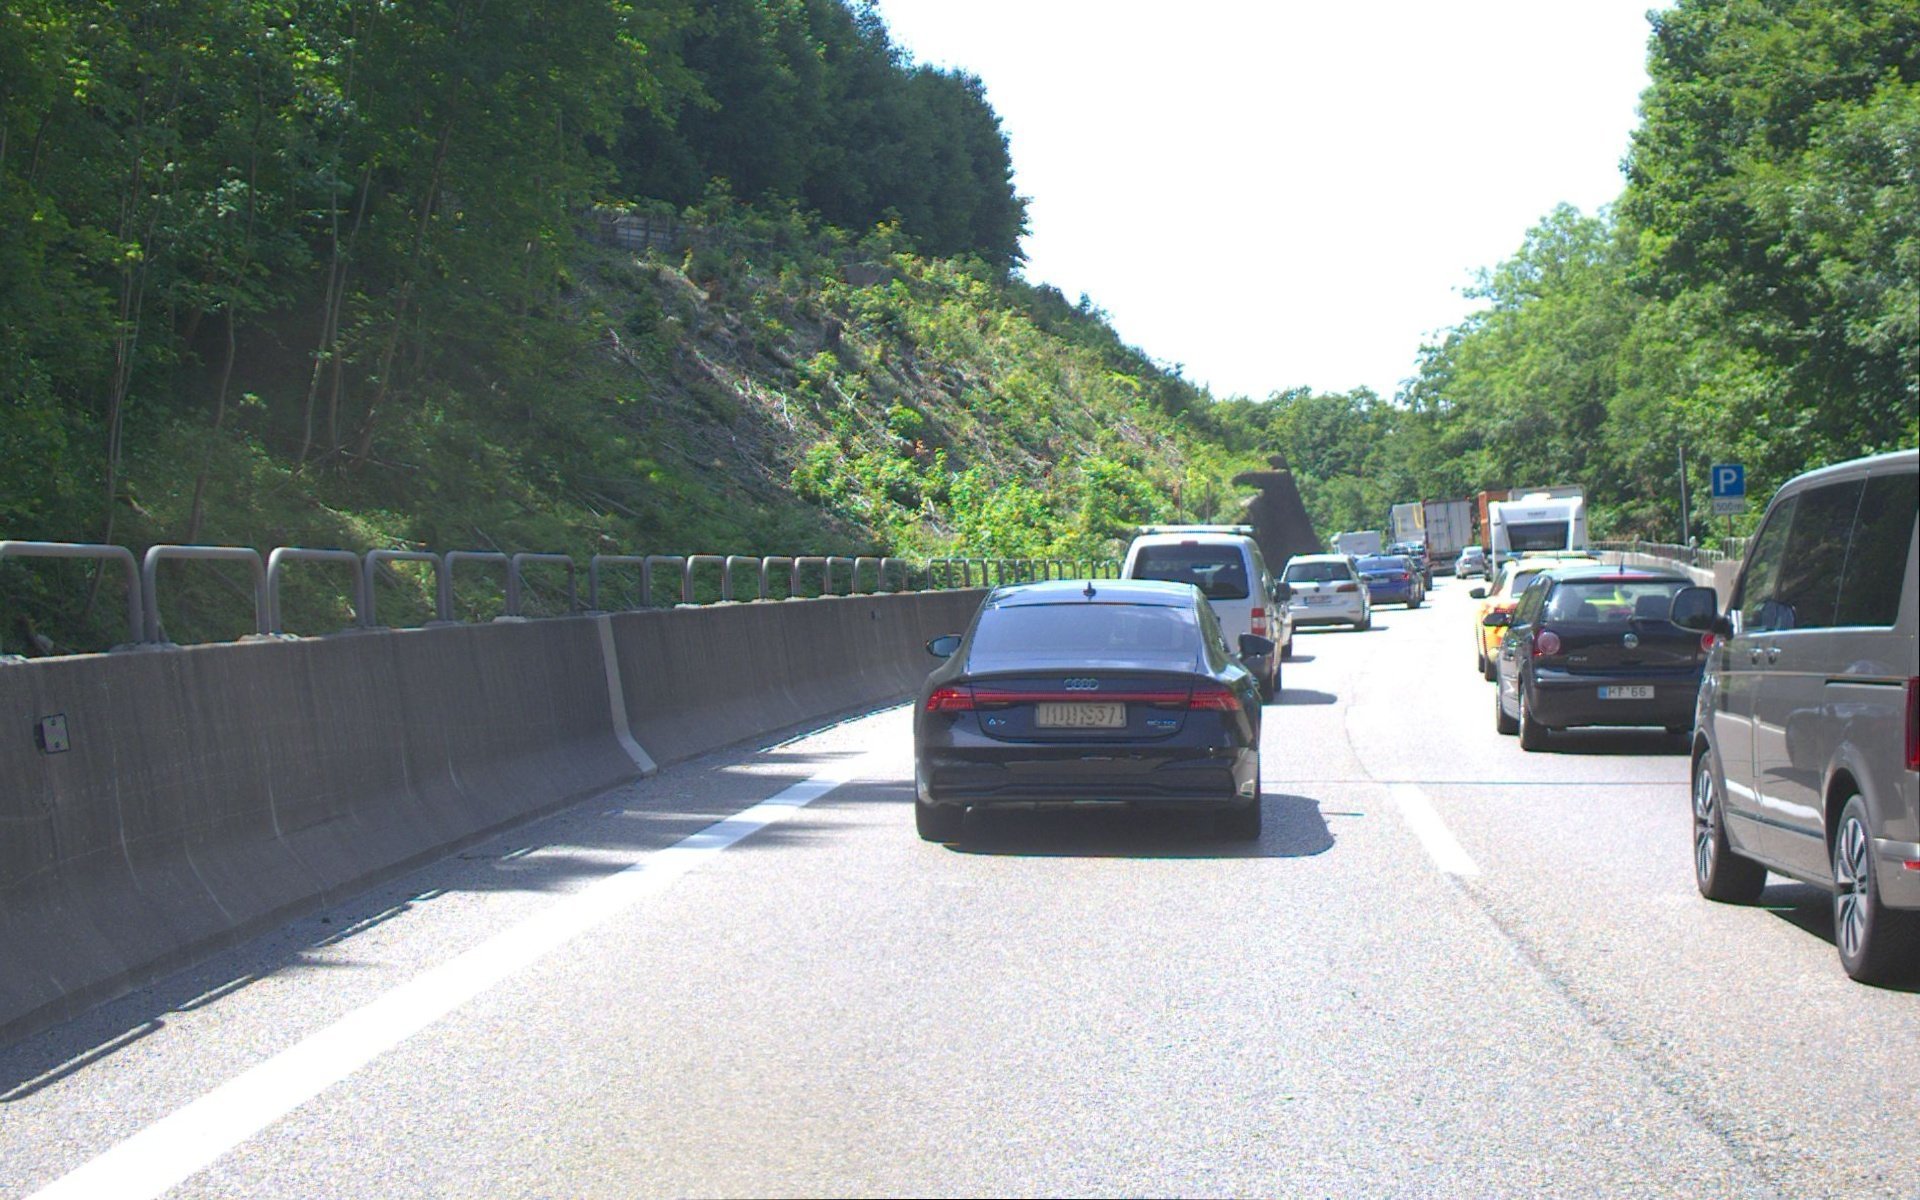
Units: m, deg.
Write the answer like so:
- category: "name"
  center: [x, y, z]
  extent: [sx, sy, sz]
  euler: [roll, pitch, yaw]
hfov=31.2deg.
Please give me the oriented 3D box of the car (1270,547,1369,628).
- category: "car"
  center: [7.212, -0.266, 69.250]
  extent: [1.895, 1.579, 3.770]
  euler: [0, 1, 5]

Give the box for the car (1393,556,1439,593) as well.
- category: "car"
  center: [19.861, -1.125, 149.925]
  extent: [1.751, 1.565, 3.770]
  euler: [0, 1, 4]

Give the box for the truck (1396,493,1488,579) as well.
- category: "truck"
  center: [25.659, -3.385, 183.380]
  extent: [3.710, 4.488, 7.725]
  euler: [0, 0, -1]

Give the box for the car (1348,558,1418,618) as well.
- category: "car"
  center: [11.289, -0.328, 91.669]
  extent: [1.751, 1.565, 3.770]
  euler: [-1, 0, 8]

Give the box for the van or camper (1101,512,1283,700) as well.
- category: "van or camper"
  center: [2.604, 0.047, 37.801]
  extent: [1.854, 1.935, 4.164]
  euler: [-1, 0, 6]

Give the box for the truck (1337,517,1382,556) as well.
- category: "truck"
  center: [20.799, -3.298, 178.969]
  extent: [1.993, 2.007, 4.000]
  euler: [0, 1, 2]

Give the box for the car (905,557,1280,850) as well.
- category: "car"
  center: [0.704, 0.513, 19.816]
  extent: [1.905, 1.484, 4.379]
  euler: [-1, 0, 1]

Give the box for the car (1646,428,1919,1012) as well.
- category: "car"
  center: [4.095, 0.365, 13.634]
  extent: [1.940, 1.924, 4.694]
  euler: [-1, 0, 2]

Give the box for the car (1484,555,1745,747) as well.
- category: "car"
  center: [5.305, 0.372, 28.291]
  extent: [1.685, 1.453, 3.999]
  euler: [-1, 0, 5]

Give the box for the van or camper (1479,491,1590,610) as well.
- category: "van or camper"
  center: [14.423, -1.222, 86.198]
  extent: [2.605, 2.845, 6.333]
  euler: [-1, 0, 10]

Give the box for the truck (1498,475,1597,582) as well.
- category: "truck"
  center: [20.897, -2.510, 122.658]
  extent: [2.926, 3.674, 7.722]
  euler: [0, 0, 6]

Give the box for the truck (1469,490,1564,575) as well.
- category: "truck"
  center: [23.379, -2.810, 144.875]
  extent: [3.164, 3.456, 8.220]
  euler: [0, 0, 4]

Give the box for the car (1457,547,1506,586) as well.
- category: "car"
  center: [24.986, -1.604, 164.865]
  extent: [1.994, 1.853, 4.000]
  euler: [0, 1, 4]

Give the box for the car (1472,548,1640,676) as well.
- category: "car"
  center: [7.215, 0.125, 41.928]
  extent: [1.809, 1.473, 4.080]
  euler: [-1, 0, 7]

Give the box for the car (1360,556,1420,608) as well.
- category: "car"
  center: [13.261, -0.556, 105.989]
  extent: [1.751, 1.565, 3.770]
  euler: [-1, 0, 8]

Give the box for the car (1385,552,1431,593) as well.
- category: "car"
  center: [17.730, -1.093, 135.968]
  extent: [1.751, 1.565, 3.770]
  euler: [-1, 0, 8]
